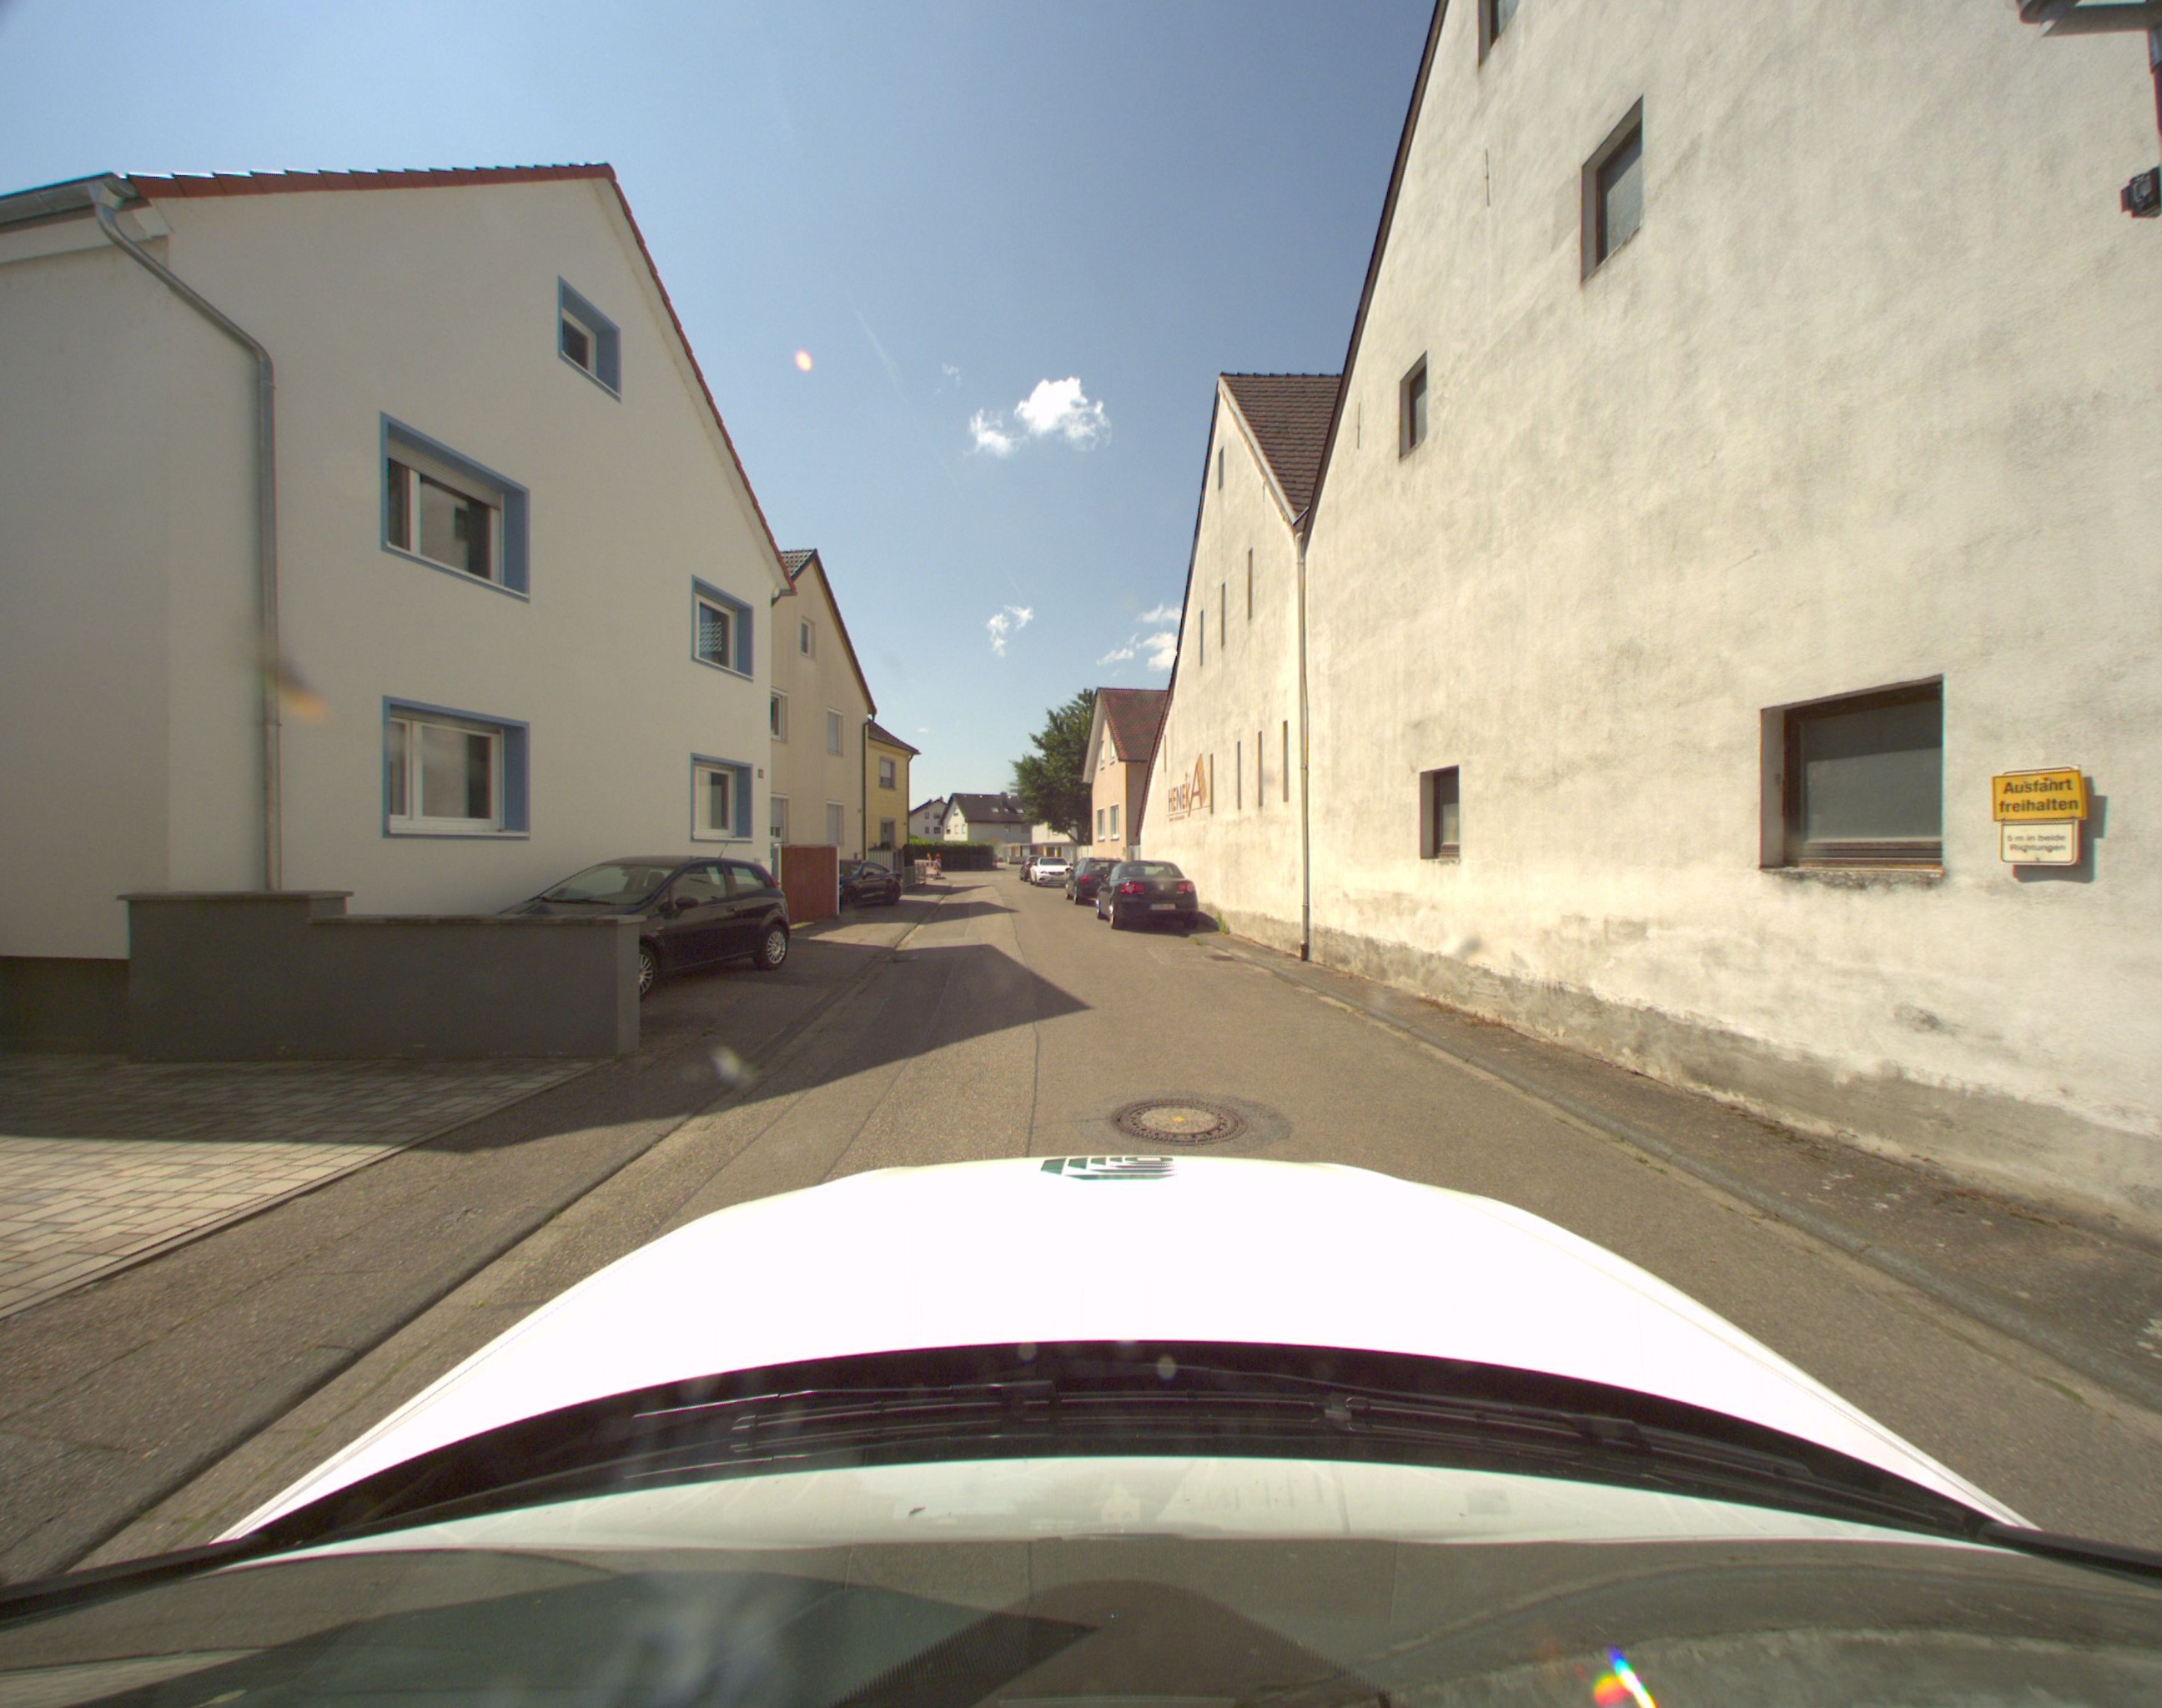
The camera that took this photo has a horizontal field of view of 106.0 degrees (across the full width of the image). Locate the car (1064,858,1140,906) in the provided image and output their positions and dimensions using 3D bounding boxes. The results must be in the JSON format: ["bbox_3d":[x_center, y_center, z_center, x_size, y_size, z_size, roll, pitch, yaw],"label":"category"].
[{"bbox_3d":[0.570,0.833,26.128,1.892,1.365,4.728,0,0,-5],"label":"car"}]

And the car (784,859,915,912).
[{"bbox_3d":[-6.422,0.824,23.222,1.758,1.349,4.482,0,-1,10],"label":"car"}]

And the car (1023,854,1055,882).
[{"bbox_3d":[-2.435,0.781,46.802,1.709,1.532,4.028,0,0,-5],"label":"car"}]

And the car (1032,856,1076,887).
[{"bbox_3d":[-1.388,0.823,40.021,1.892,1.428,4.728,0,0,-5],"label":"car"}]

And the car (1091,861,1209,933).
[{"bbox_3d":[1.390,0.852,18.102,1.893,1.365,4.406,0,0,-5],"label":"car"}]

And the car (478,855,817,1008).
[{"bbox_3d":[-4.928,0.760,9.941,1.627,1.455,3.798,0,0,10],"label":"car"}]

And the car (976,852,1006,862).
[{"bbox_3d":[-12.309,0.396,111.567,3.622,1.408,1.767,0,0,-30],"label":"car"}]
